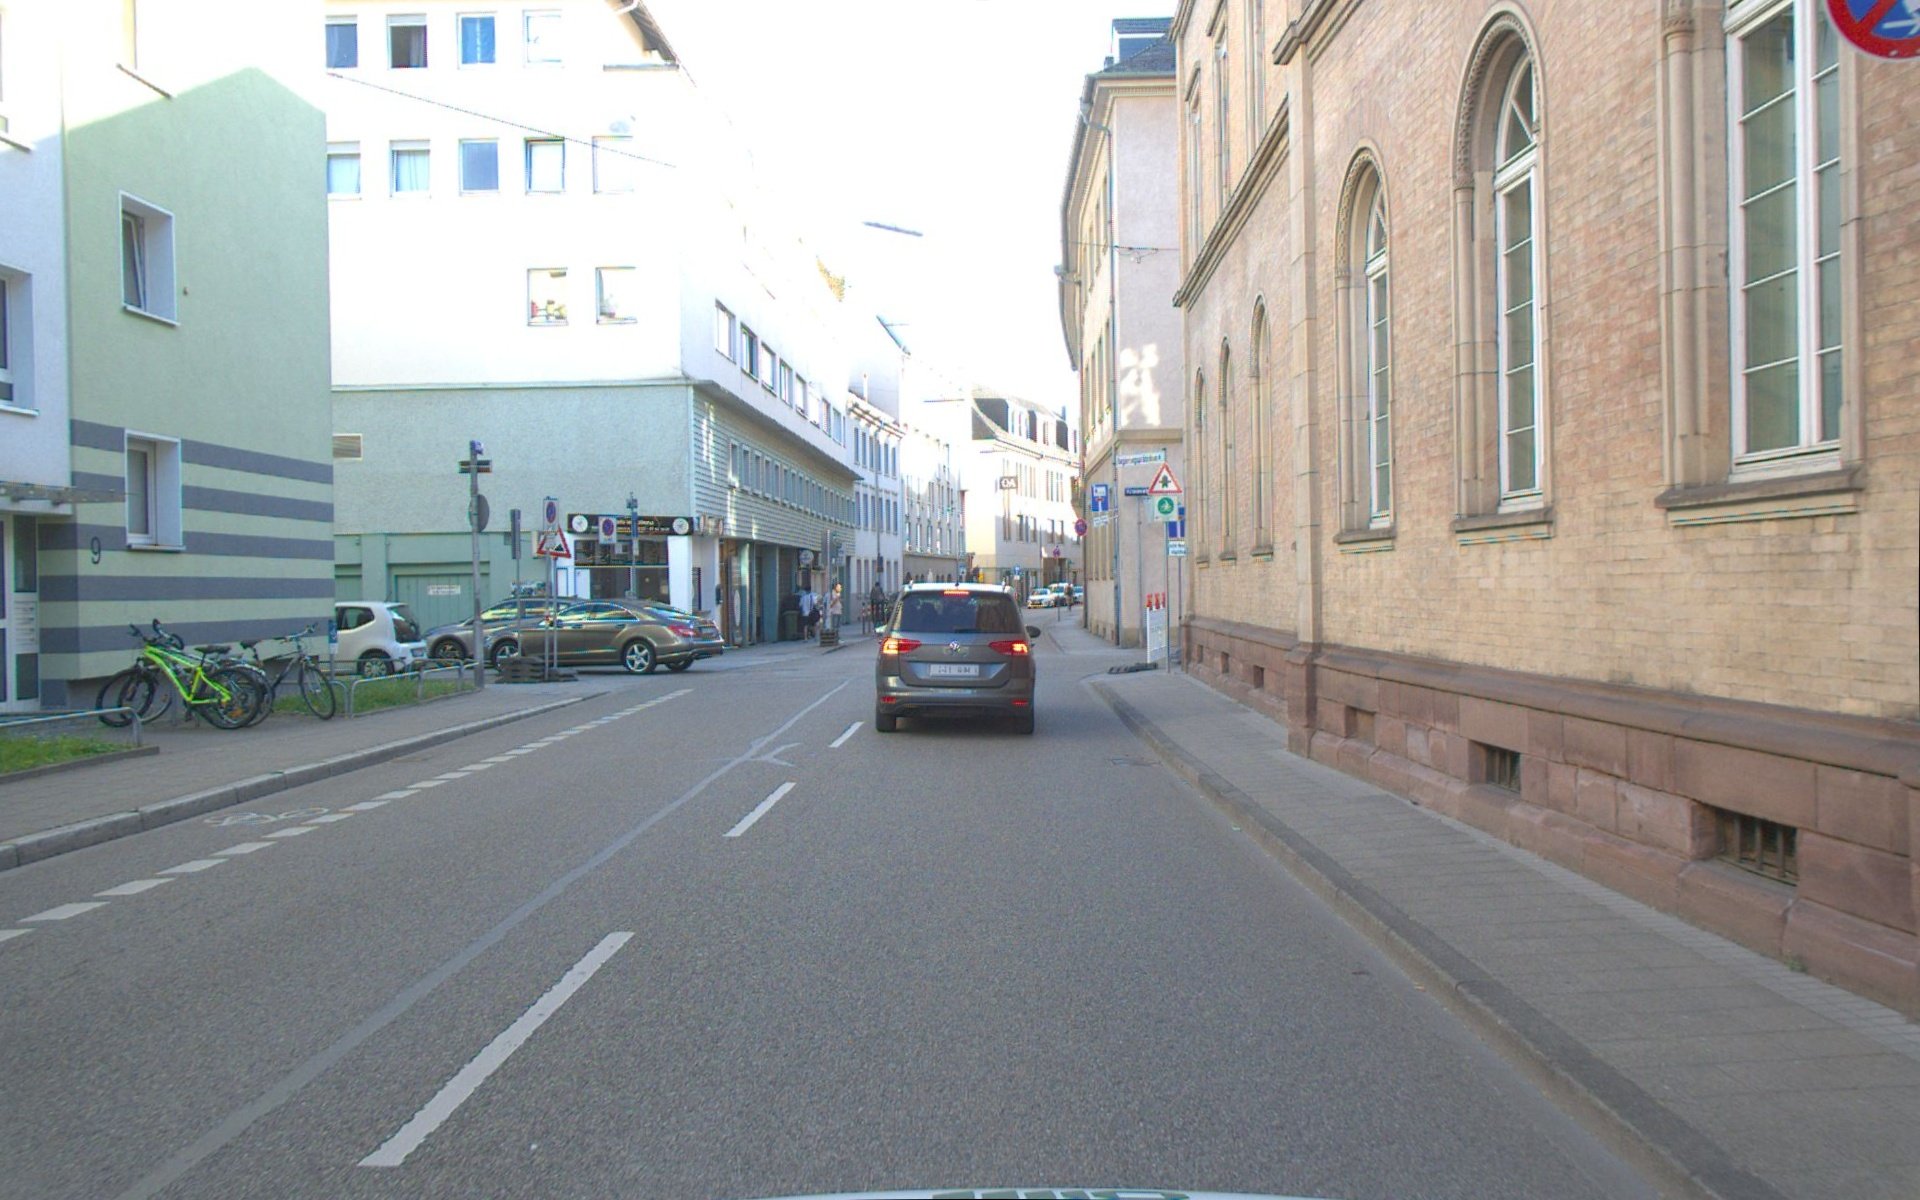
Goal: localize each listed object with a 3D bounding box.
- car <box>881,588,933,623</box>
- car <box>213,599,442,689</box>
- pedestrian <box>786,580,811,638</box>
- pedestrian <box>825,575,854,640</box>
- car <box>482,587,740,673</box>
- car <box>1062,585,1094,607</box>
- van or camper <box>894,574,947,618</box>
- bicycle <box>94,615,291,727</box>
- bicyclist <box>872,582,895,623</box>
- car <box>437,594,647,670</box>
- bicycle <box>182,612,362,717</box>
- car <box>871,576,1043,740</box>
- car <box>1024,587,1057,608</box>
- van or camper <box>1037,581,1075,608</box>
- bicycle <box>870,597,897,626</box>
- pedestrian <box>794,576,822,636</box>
[{"bbox_3d":[-2.356,0.216,74.116,1.826,1.494,3.836,-1,1,5],"label":"car"},{"bbox_3d":[-11.506,0.787,30.243,3.428,1.468,1.814,-2,1,2],"label":"car"},{"bbox_3d":[-5.253,0.287,53.768,0.713,1.861,0.557,-1,0,0],"label":"pedestrian"},{"bbox_3d":[-3.468,0.218,47.601,0.544,1.861,0.730,-1,0,24],"label":"pedestrian"},{"bbox_3d":[-6.810,0.586,32.390,4.516,1.568,2.001,-1,0,16],"label":"car"},{"bbox_3d":[9.856,-0.344,138.235,1.787,1.756,4.002,-1,0,17],"label":"car"},{"bbox_3d":[-1.860,-0.199,79.847,1.951,2.049,4.486,-1,0,6],"label":"van or camper"},{"bbox_3d":[-8.619,0.796,18.645,1.897,1.200,0.611,2,0,-16],"label":"bicycle"},{"bbox_3d":[-3.059,0.098,66.303,0.813,1.589,0.760,-1,0,3],"label":"bicyclist"},{"bbox_3d":[-9.069,0.673,36.101,4.013,1.468,1.948,-2,1,2],"label":"car"},{"bbox_3d":[-8.342,0.780,20.114,1.893,1.200,0.612,2,0,-9],"label":"bicycle"},{"bbox_3d":[-0.002,0.588,19.102,1.726,1.635,4.000,2,0,1],"label":"car"},{"bbox_3d":[6.145,-0.220,126.236,1.697,1.493,4.003,-1,0,14],"label":"car"},{"bbox_3d":[7.699,-0.448,131.959,1.951,2.049,5.002,-1,1,16],"label":"van or camper"},{"bbox_3d":[-3.058,0.454,66.577,0.813,1.072,2.550,-1,1,3],"label":"bicycle"},{"bbox_3d":[-4.745,0.188,51.663,0.544,1.861,0.730,-1,0,24],"label":"pedestrian"}]
